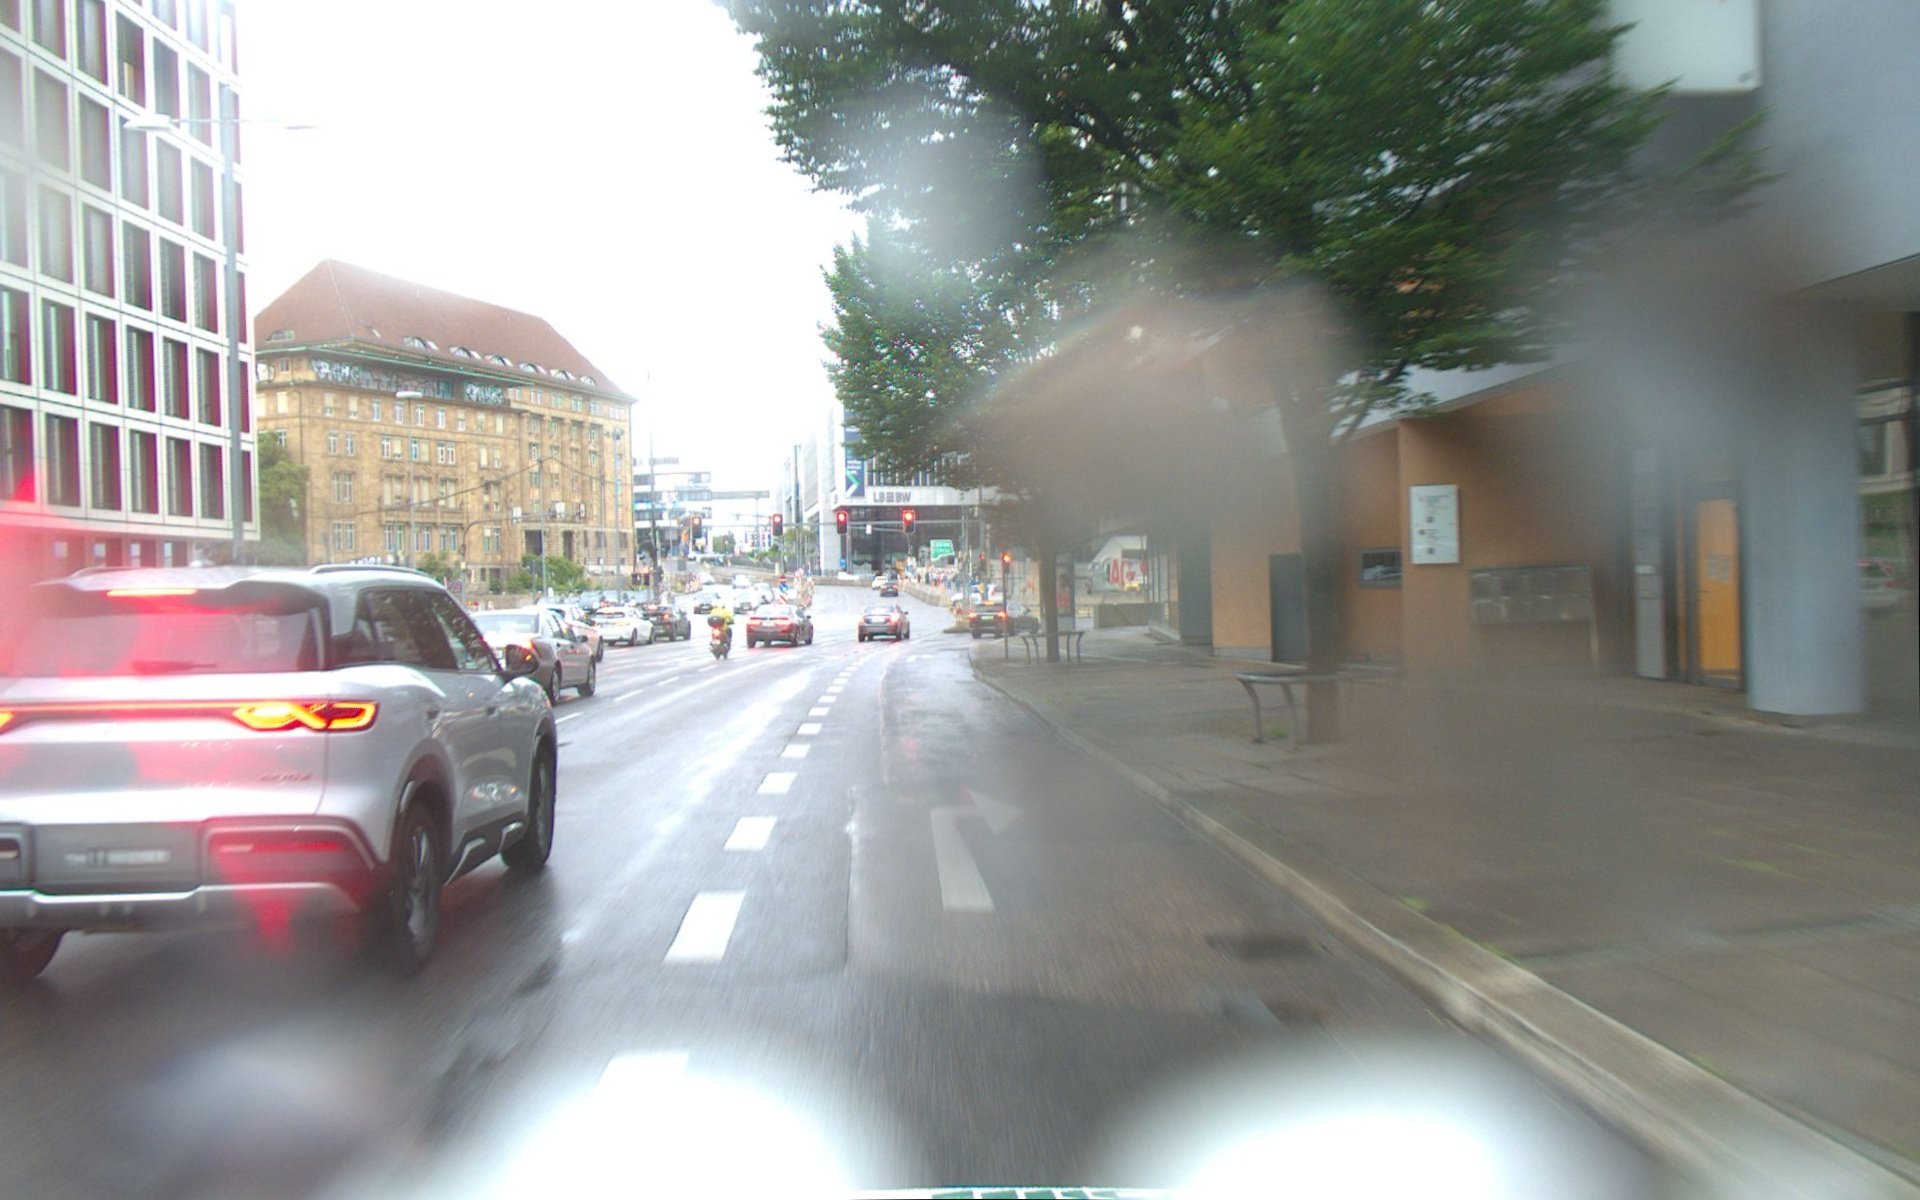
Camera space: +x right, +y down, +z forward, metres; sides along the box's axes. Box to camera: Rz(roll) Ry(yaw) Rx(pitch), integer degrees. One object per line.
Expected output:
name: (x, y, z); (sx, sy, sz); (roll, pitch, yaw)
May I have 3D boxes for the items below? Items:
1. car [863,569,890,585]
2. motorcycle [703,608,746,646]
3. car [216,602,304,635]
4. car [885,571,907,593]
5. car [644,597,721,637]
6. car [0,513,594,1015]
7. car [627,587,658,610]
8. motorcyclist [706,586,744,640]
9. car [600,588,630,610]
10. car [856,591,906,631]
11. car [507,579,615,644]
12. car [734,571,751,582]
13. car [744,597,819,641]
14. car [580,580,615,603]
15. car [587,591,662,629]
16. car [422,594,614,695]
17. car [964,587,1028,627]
car: (-9.824, -2.669, 193.714); (1.966, 1.847, 3.973); (-1, 0, -22)
motorcycle: (-6.634, 0.753, 46.711); (0.922, 1.006, 2.294); (-1, 1, -1)
car: (-38.648, 1.010, 91.452); (4.314, 1.691, 1.989); (-1, 0, -19)
car: (-6.411, -1.775, 164.195); (1.955, 2.049, 3.995); (-1, 0, -5)
car: (-11.796, 0.692, 70.527); (1.745, 1.627, 4.076); (-1, 0, 13)
car: (-2.943, 0.550, 7.730); (1.772, 1.690, 4.167); (-1, 0, -4)
car: (-23.040, -0.095, 120.120); (1.766, 1.601, 4.071); (-1, 0, -4)
motorcyclist: (-6.623, 0.360, 46.701); (0.922, 1.501, 1.100); (-1, 0, -1)
car: (-26.027, -0.069, 124.857); (1.664, 1.601, 3.997); (-1, 0, -4)
car: (-3.208, 0.424, 67.765); (1.746, 1.426, 4.487); (-1, 2, 0)
car: (-10.623, 0.274, 44.301); (1.696, 1.644, 4.002); (-1, 0, 3)
car: (-27.986, -3.008, 213.239); (1.732, 1.282, 4.192); (-1, 0, -2)
car: (-6.622, 0.662, 61.819); (1.847, 1.541, 5.005); (-1, 0, 4)
car: (-25.550, -0.626, 116.673); (1.664, 1.545, 3.873); (-3, 1, -2)
car: (-12.938, 0.364, 64.037); (1.745, 1.397, 3.996); (-1, 0, 5)
car: (-6.830, 0.630, 26.043); (1.697, 1.428, 4.384); (-1, 0, 2)
car: (1.521, 0.282, 67.578); (1.851, 1.571, 3.997); (-1, 0, 13)
